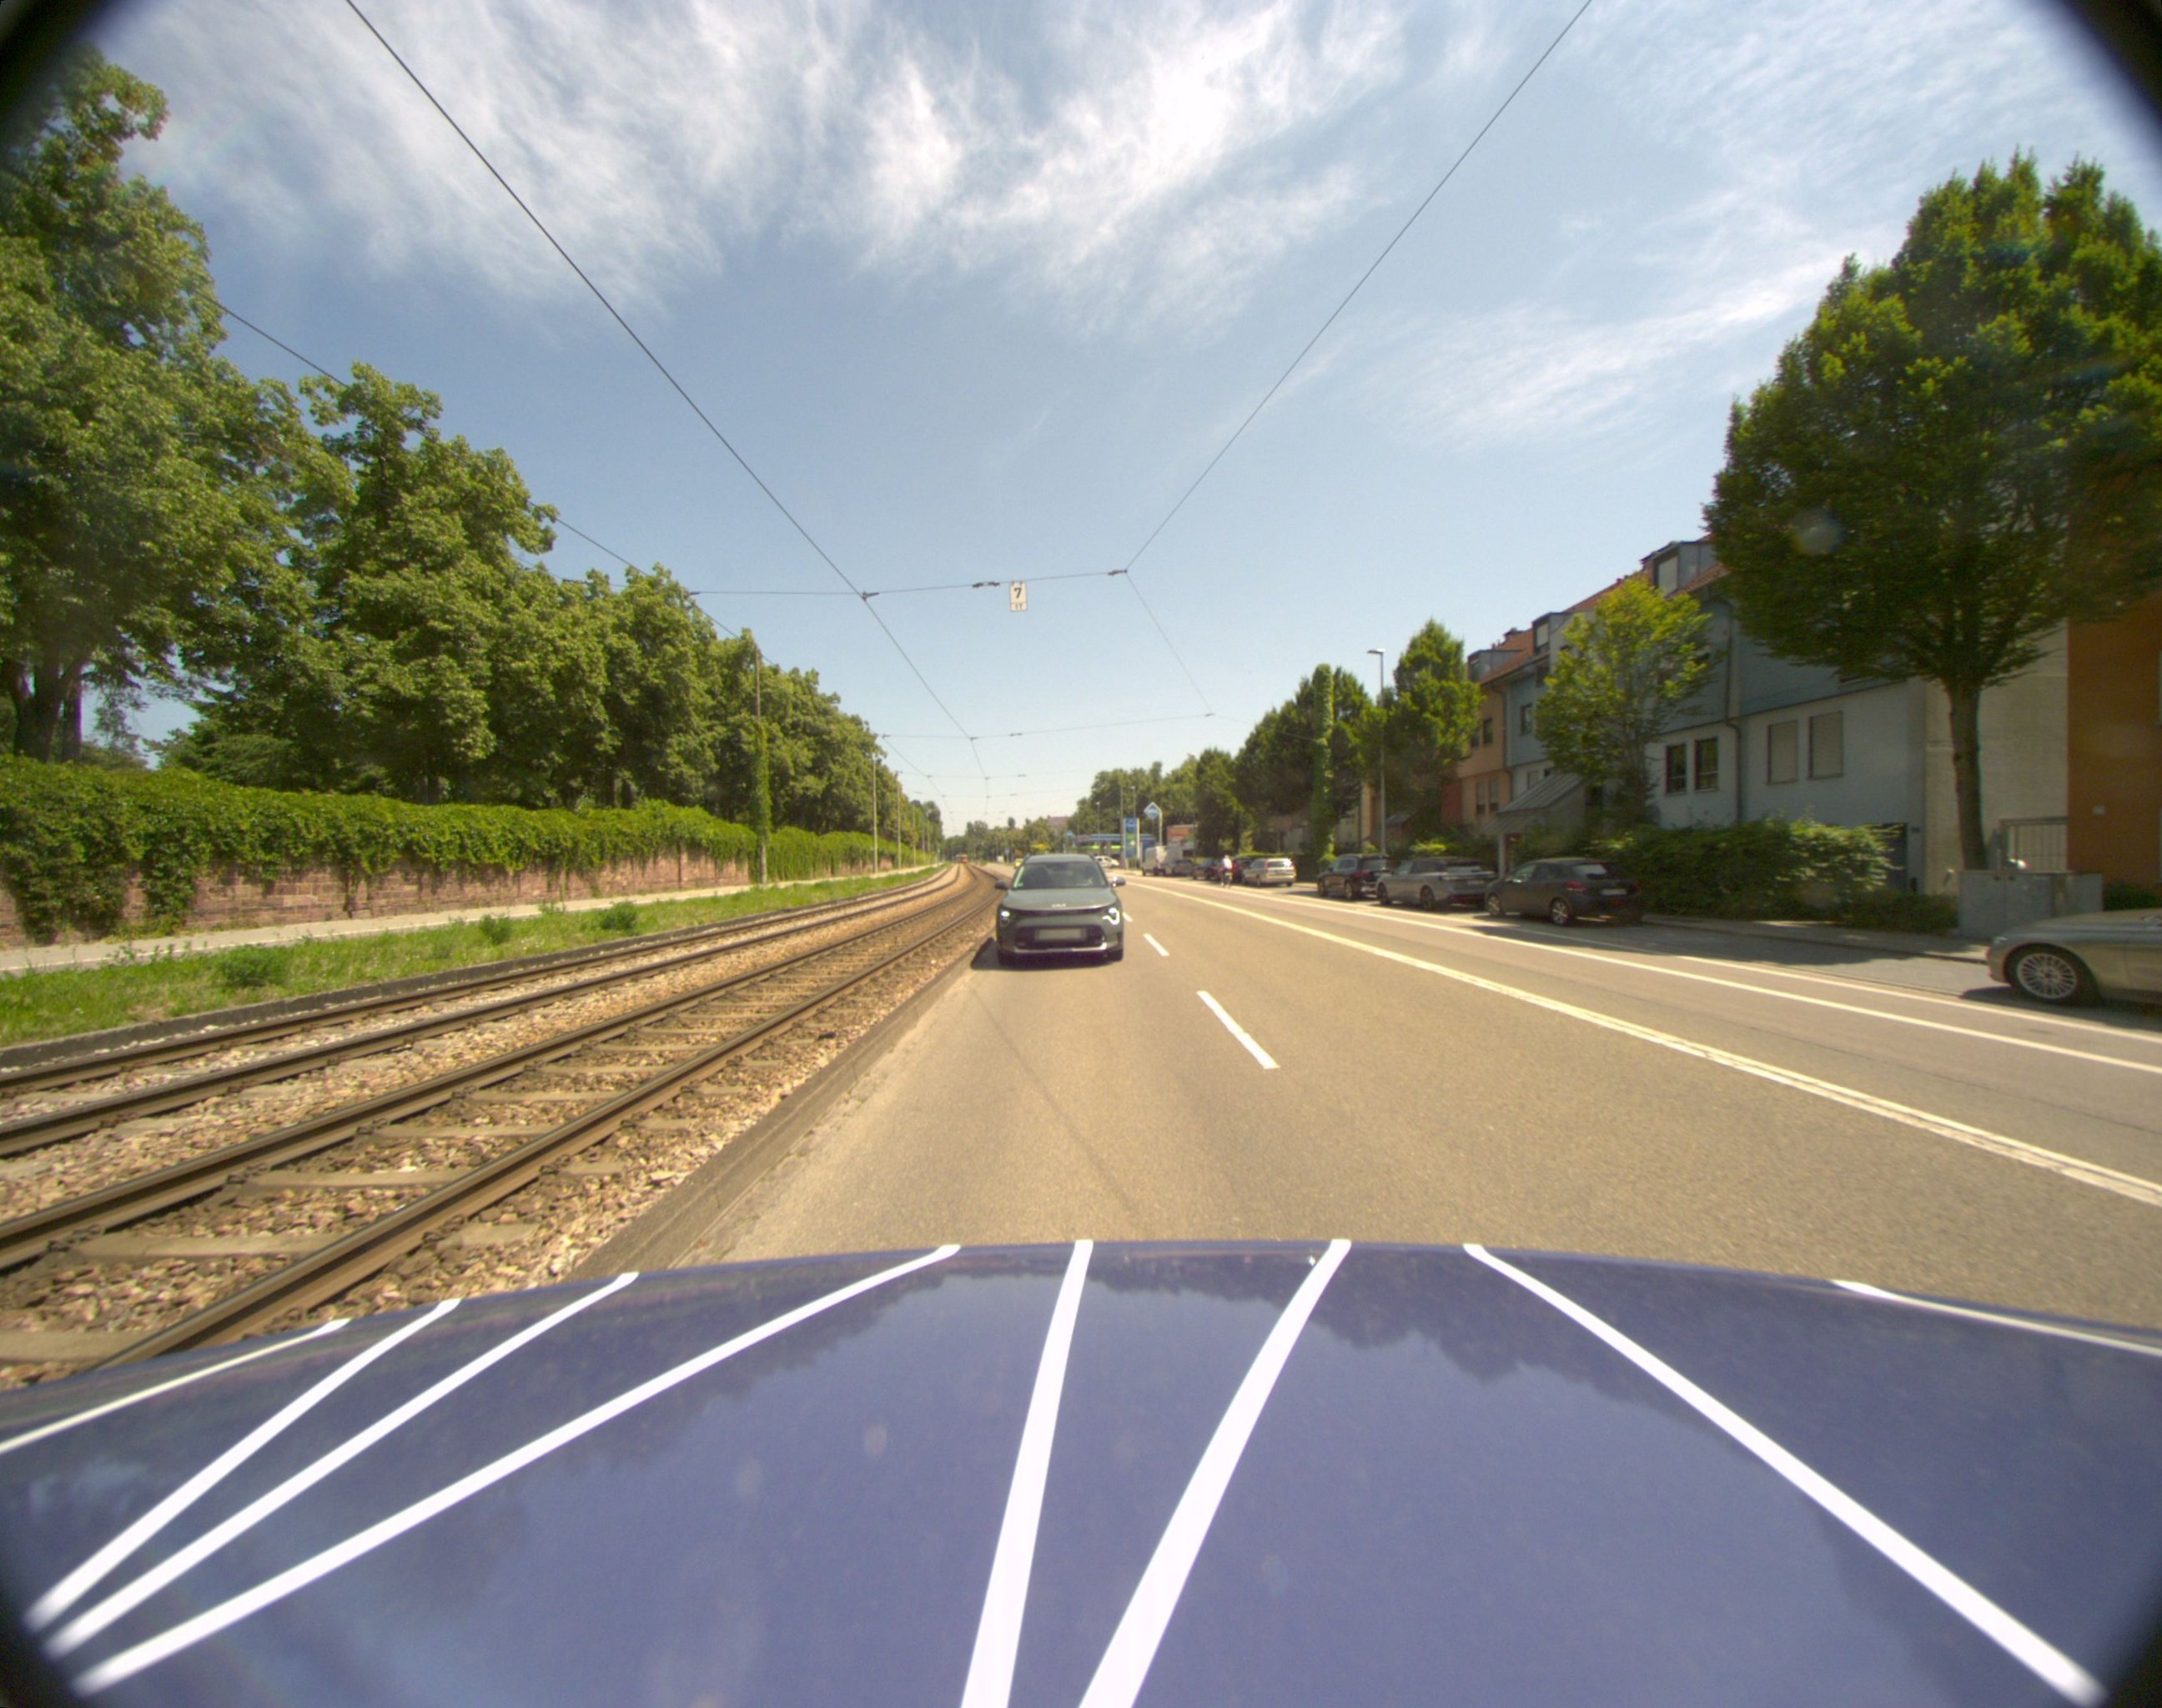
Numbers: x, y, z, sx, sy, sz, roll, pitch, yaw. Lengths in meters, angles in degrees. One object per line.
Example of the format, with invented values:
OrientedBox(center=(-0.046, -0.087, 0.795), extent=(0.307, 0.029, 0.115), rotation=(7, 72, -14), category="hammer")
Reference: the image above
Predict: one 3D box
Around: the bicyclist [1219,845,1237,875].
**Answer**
OrientedBox(center=(7.490, 0.323, 38.778), extent=(0.737, 1.496, 0.737), rotation=(1, 1, 1), category="bicyclist")

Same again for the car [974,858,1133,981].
OrientedBox(center=(-0.265, 0.876, 12.025), extent=(2.062, 1.534, 4.000), rotation=(-1, 0, 3), category="car")

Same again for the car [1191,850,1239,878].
OrientedBox(center=(8.953, 0.660, 51.215), extent=(1.999, 1.783, 4.556), rotation=(-1, 0, -5), category="car")

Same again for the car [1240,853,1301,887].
OrientedBox(center=(9.929, 0.808, 40.119), extent=(1.845, 1.573, 4.495), rotation=(-3, 0, -3), category="car")

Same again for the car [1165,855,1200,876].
OrientedBox(center=(7.994, 0.886, 60.182), extent=(1.870, 1.528, 4.142), rotation=(-2, 0, -5), category="car")

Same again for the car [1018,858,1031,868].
OrientedBox(center=(-8.418, 1.313, 112.785), extent=(1.696, 1.403, 3.513), rotation=(-2, 0, -9), category="car")

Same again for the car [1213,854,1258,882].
OrientedBox(center=(9.299, 0.834, 46.009), extent=(1.604, 1.584, 3.680), rotation=(-2, 0, -6), category="car")

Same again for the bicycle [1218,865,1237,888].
OrientedBox(center=(7.486, 1.138, 38.779), extent=(0.641, 1.089, 1.638), rotation=(2, 1, 1), category="bicycle")

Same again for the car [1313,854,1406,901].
OrientedBox(center=(10.450, 0.838, 28.800), extent=(1.772, 1.579, 4.147), rotation=(-2, 0, -3), category="car")

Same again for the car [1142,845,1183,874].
OrientedBox(center=(7.049, 0.500, 66.141), extent=(2.285, 2.294, 5.226), rotation=(-2, 0, -8), category="car")

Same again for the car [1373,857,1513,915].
OrientedBox(center=(10.730, 0.869, 22.980), extent=(1.830, 1.487, 4.756), rotation=(-2, 0, -1), category="car")

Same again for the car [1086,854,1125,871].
OrientedBox(center=(3.555, 1.226, 111.104), extent=(5.375, 2.085, 1.998), rotation=(-3, 1, -11), category="car")

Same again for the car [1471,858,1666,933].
OrientedBox(center=(11.079, 0.867, 17.692), extent=(1.754, 1.424, 4.257), rotation=(-3, 0, 0), category="car")

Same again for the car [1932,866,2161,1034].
OrientedBox(center=(11.079, 0.916, 6.654), extent=(1.708, 1.421, 4.750), rotation=(-5, 0, -3), category="car")
